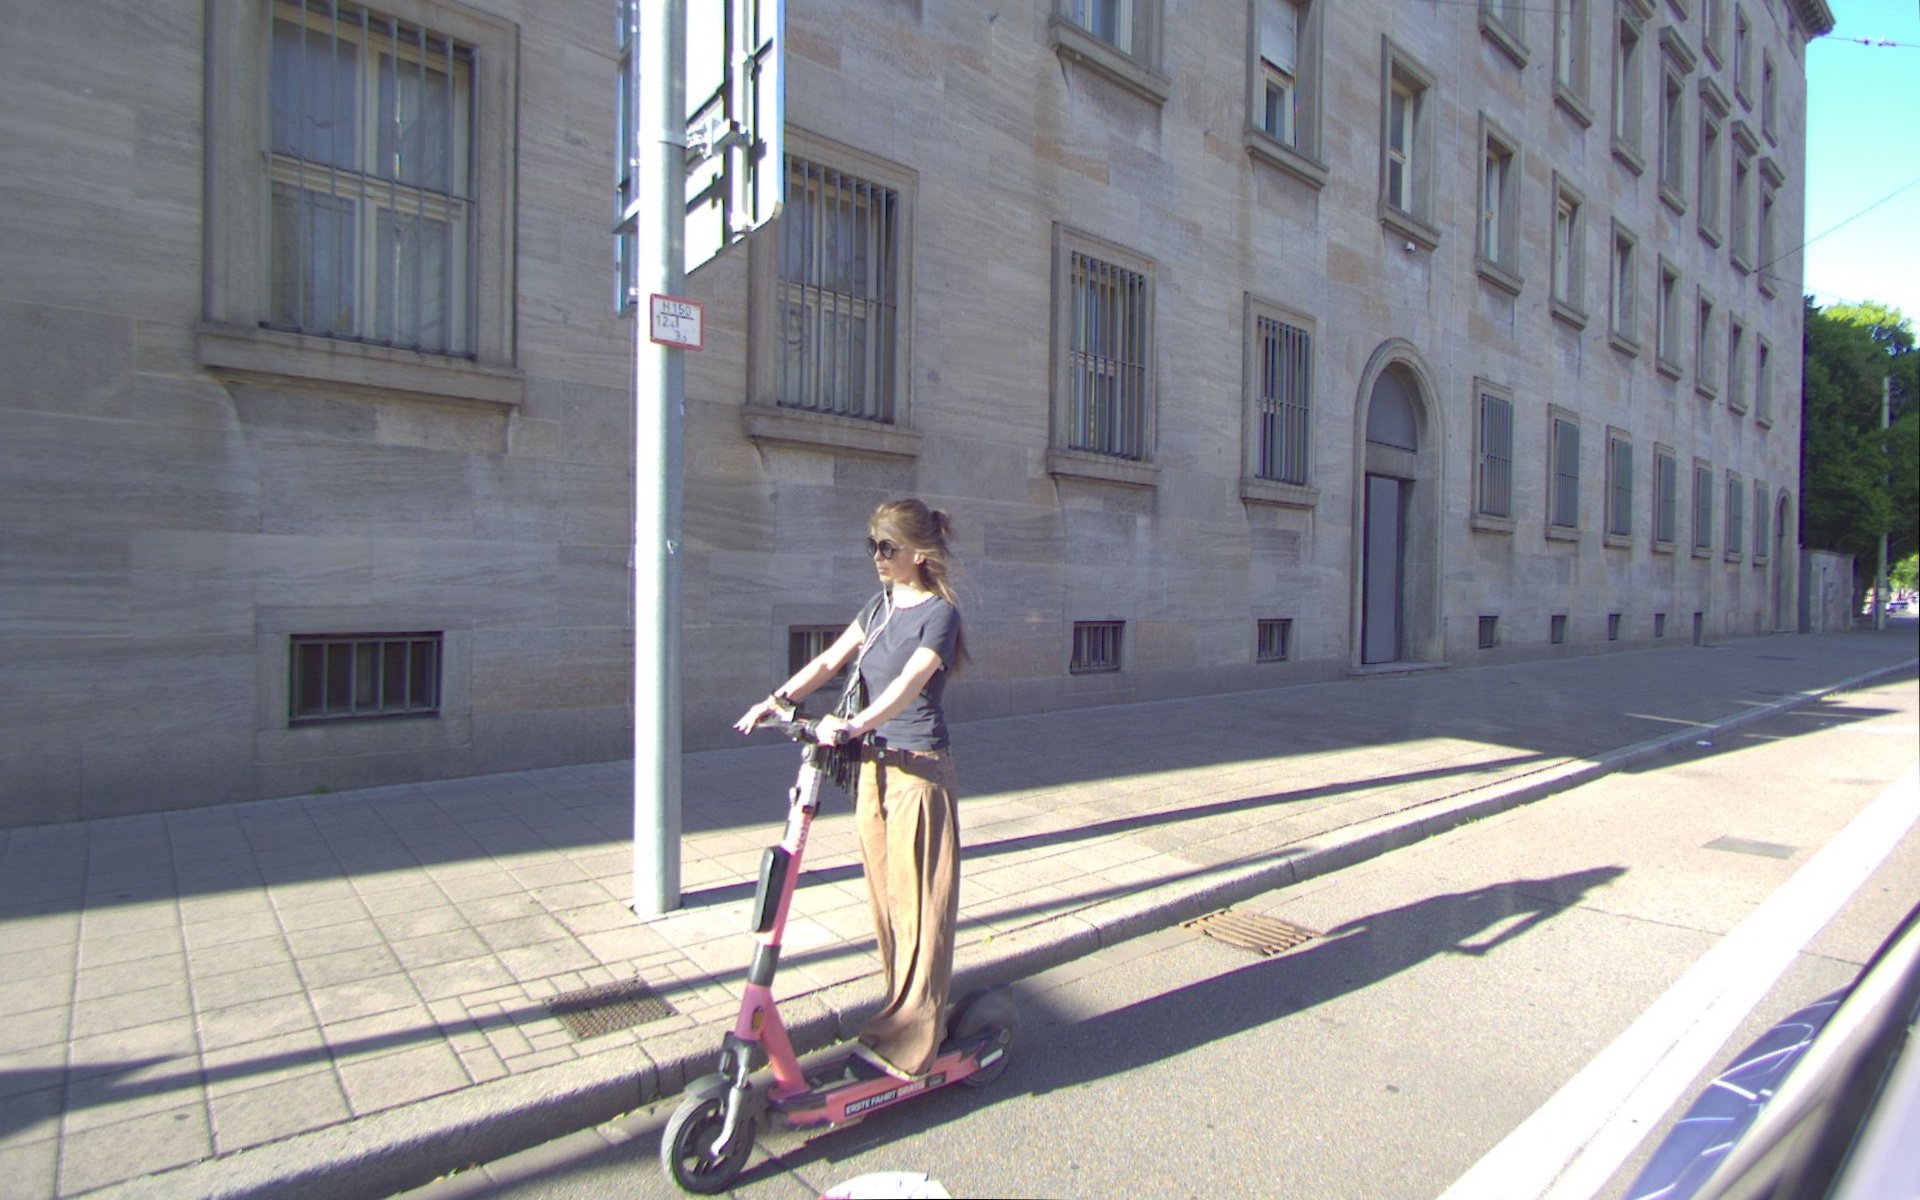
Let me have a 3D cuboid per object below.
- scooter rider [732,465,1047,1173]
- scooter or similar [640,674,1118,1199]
[{"bbox_3d":[-0.217,0.515,2.872,0.547,1.692,0.730,0,1,-41],"label":"scooter rider"},{"bbox_3d":[-0.180,0.868,2.914,1.305,1.200,0.535,0,1,-42],"label":"scooter or similar"}]
